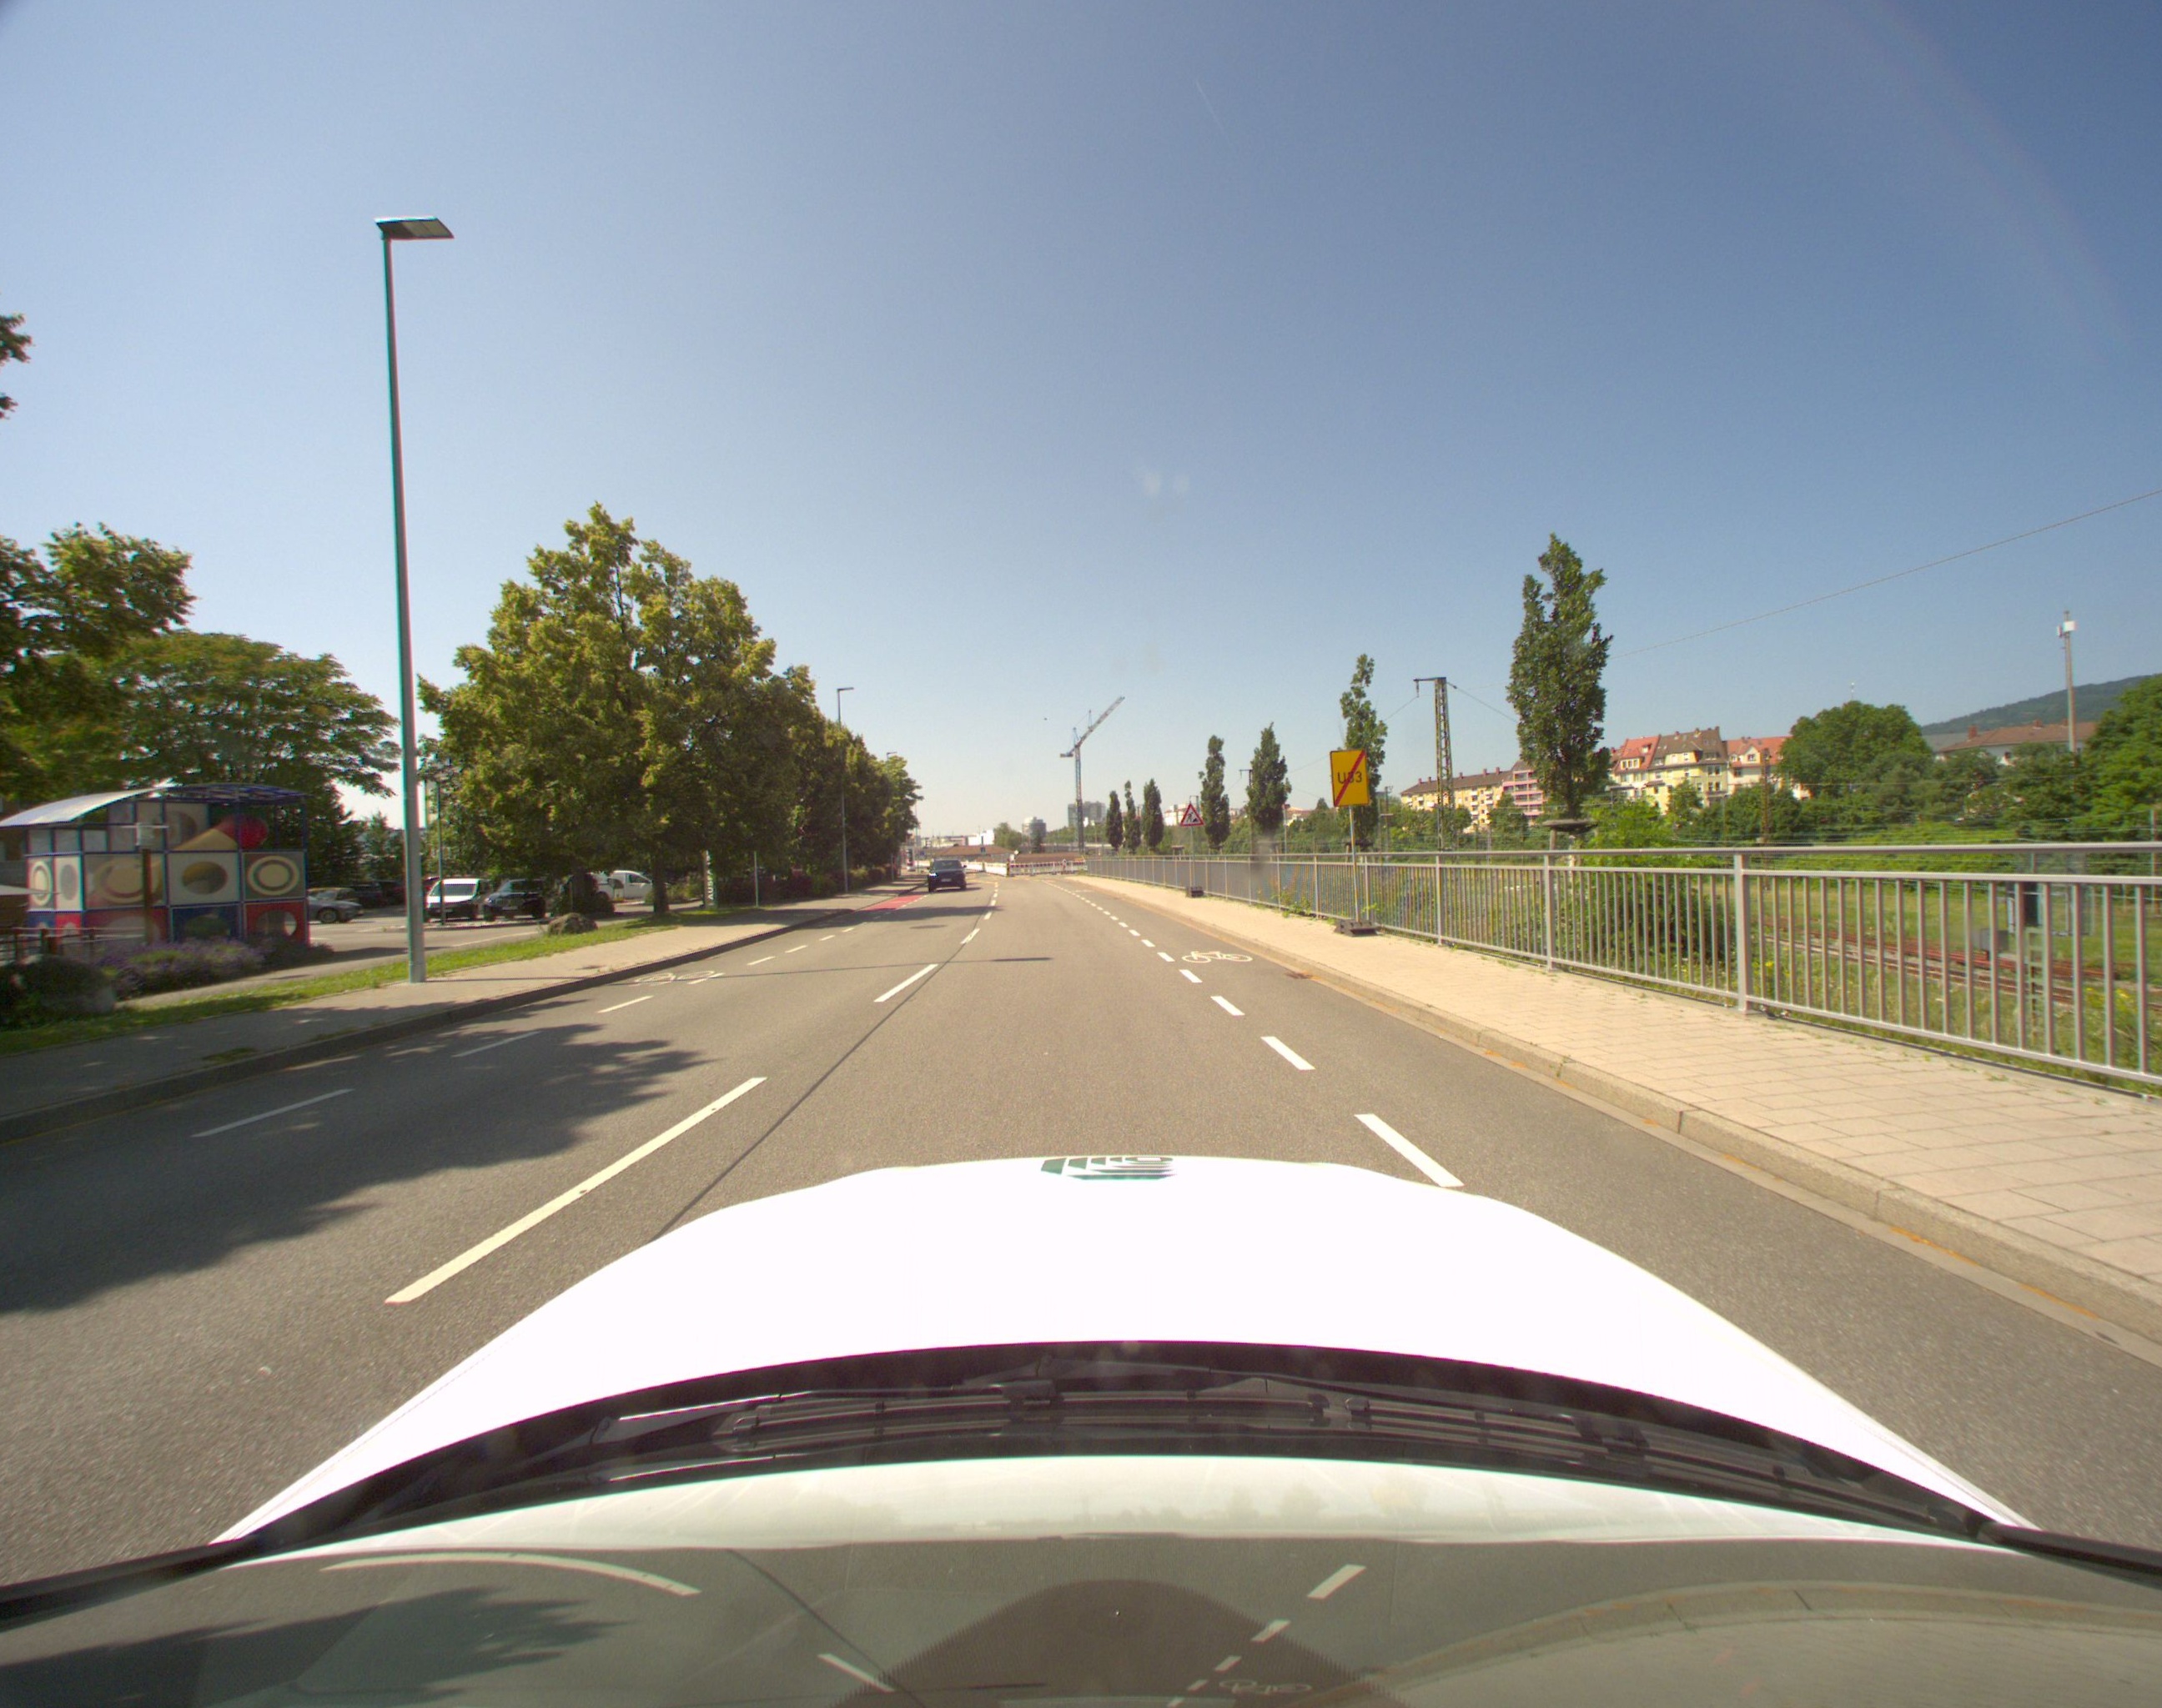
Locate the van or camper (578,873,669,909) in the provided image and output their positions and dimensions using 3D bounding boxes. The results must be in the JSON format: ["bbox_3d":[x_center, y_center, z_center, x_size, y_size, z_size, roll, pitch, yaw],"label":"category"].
[{"bbox_3d":[-26.150,2.064,46.730,4.290,1.740,1.984,-3,0,-24],"label":"van or camper"}]

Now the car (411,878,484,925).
[{"bbox_3d":[-26.658,1.931,34.395,1.723,1.735,4.209,-3,0,-29],"label":"car"}]

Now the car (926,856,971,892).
[{"bbox_3d":[-7.151,1.030,43.587,1.953,1.695,4.591,-3,0,-14],"label":"car"}]

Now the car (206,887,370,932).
[{"bbox_3d":[-32.488,2.246,33.566,4.406,1.438,1.981,-3,0,-30],"label":"car"}]

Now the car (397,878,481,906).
[{"bbox_3d":[-43.113,2.535,54.801,3.999,1.598,1.787,-3,0,-19],"label":"car"}]

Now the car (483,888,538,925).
[{"bbox_3d":[-23.445,2.096,33.443,1.616,1.285,3.954,-3,0,-38],"label":"car"}]

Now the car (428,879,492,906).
[{"bbox_3d":[-38.051,2.366,49.905,3.392,1.526,1.510,-2,0,22],"label":"car"}]
